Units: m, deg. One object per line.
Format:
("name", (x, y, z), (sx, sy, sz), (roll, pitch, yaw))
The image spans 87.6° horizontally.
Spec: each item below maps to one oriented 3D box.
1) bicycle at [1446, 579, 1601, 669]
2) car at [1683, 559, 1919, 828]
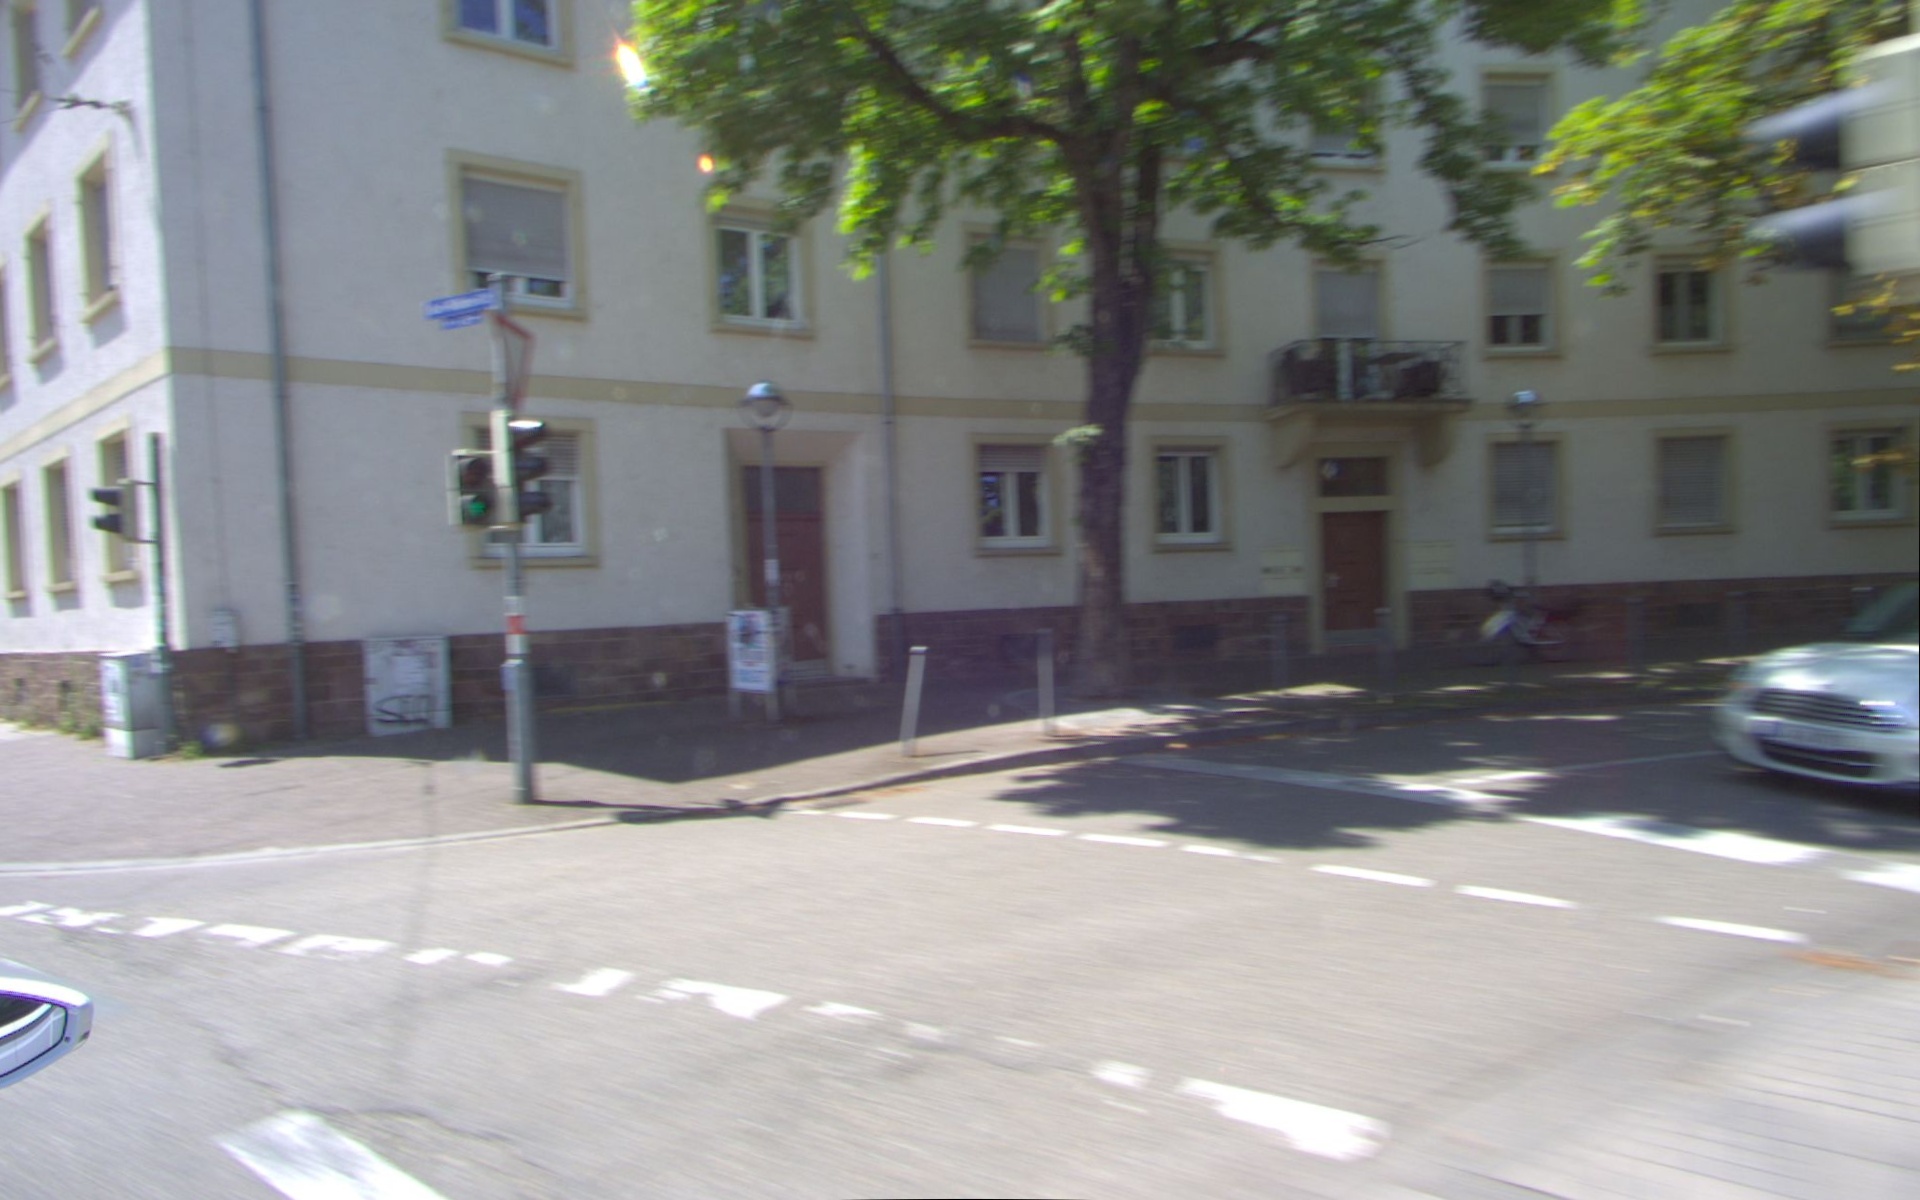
("bicycle", (7.870, 0.325, 14.027), (1.769, 1.170, 0.640), (-2, 1, 2))
("car", (6.888, 0.447, 6.386), (3.558, 1.465, 1.694), (-2, 1, -10))
